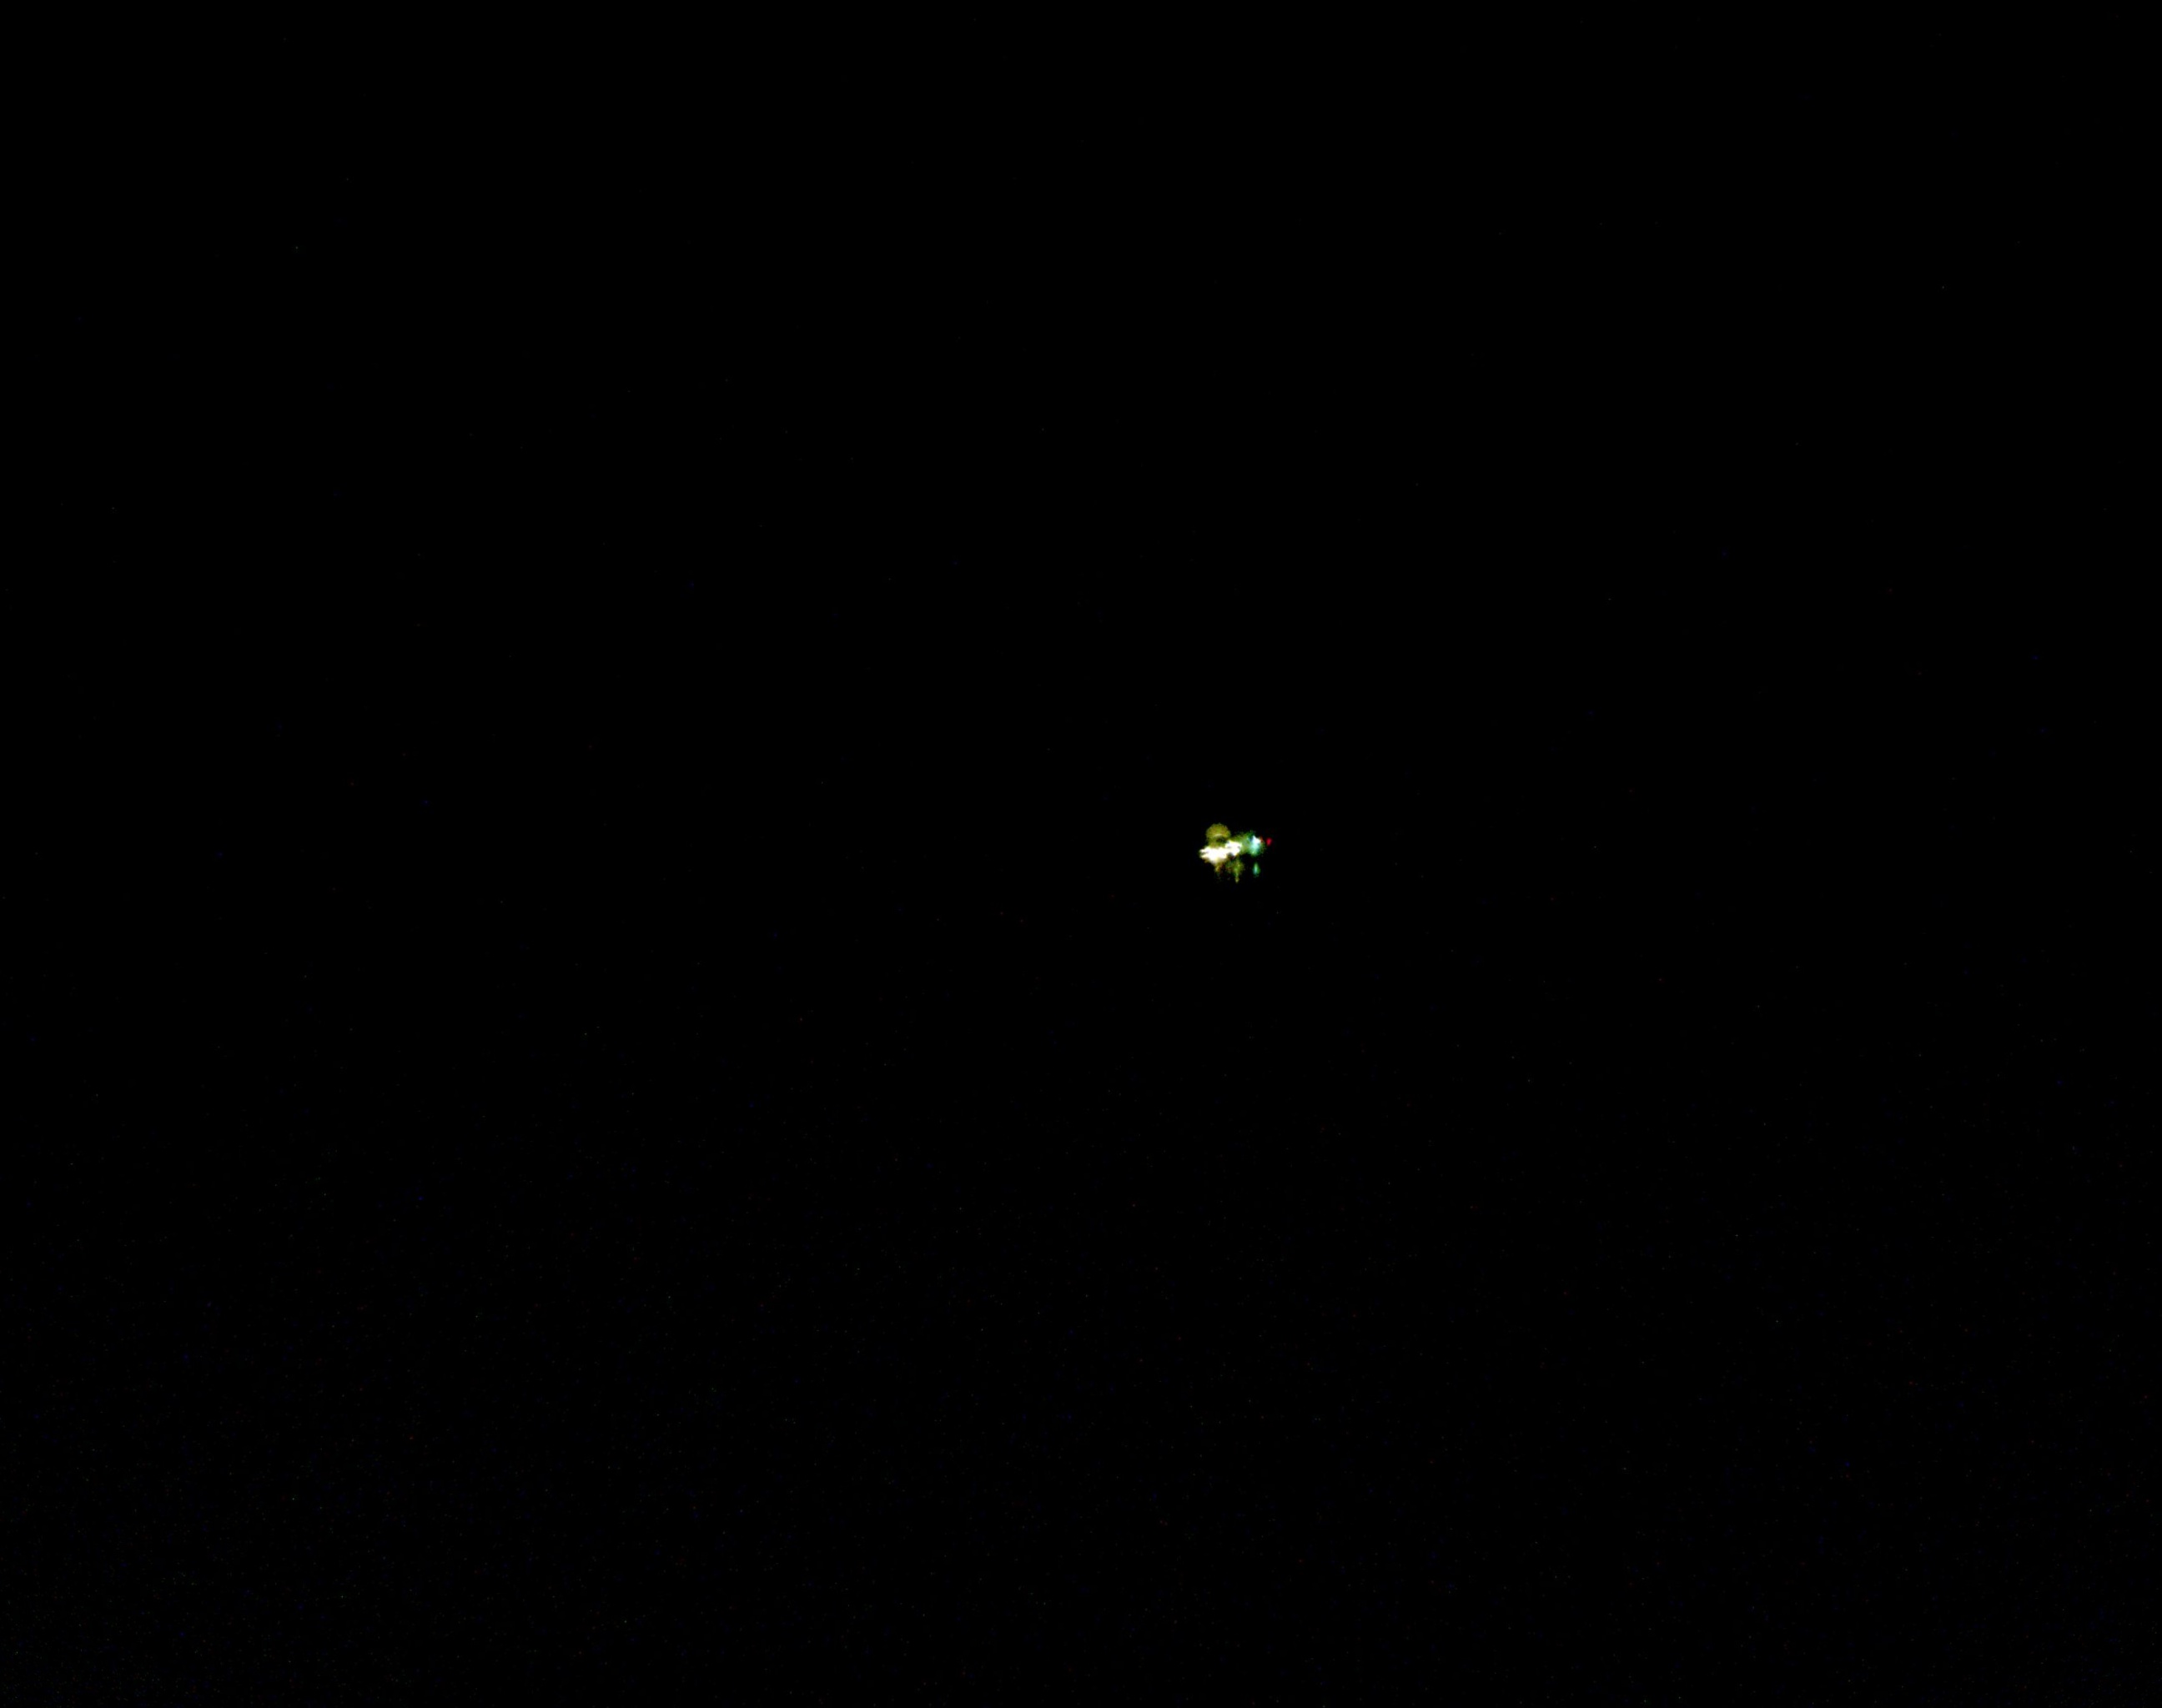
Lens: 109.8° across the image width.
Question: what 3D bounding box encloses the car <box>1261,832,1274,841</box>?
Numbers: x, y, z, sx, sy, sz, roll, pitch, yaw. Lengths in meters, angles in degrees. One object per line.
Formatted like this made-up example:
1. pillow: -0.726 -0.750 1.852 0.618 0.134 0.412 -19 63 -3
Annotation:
1. car: 39.185 -3.663 159.689 1.861 1.737 4.968 -2 2 22
